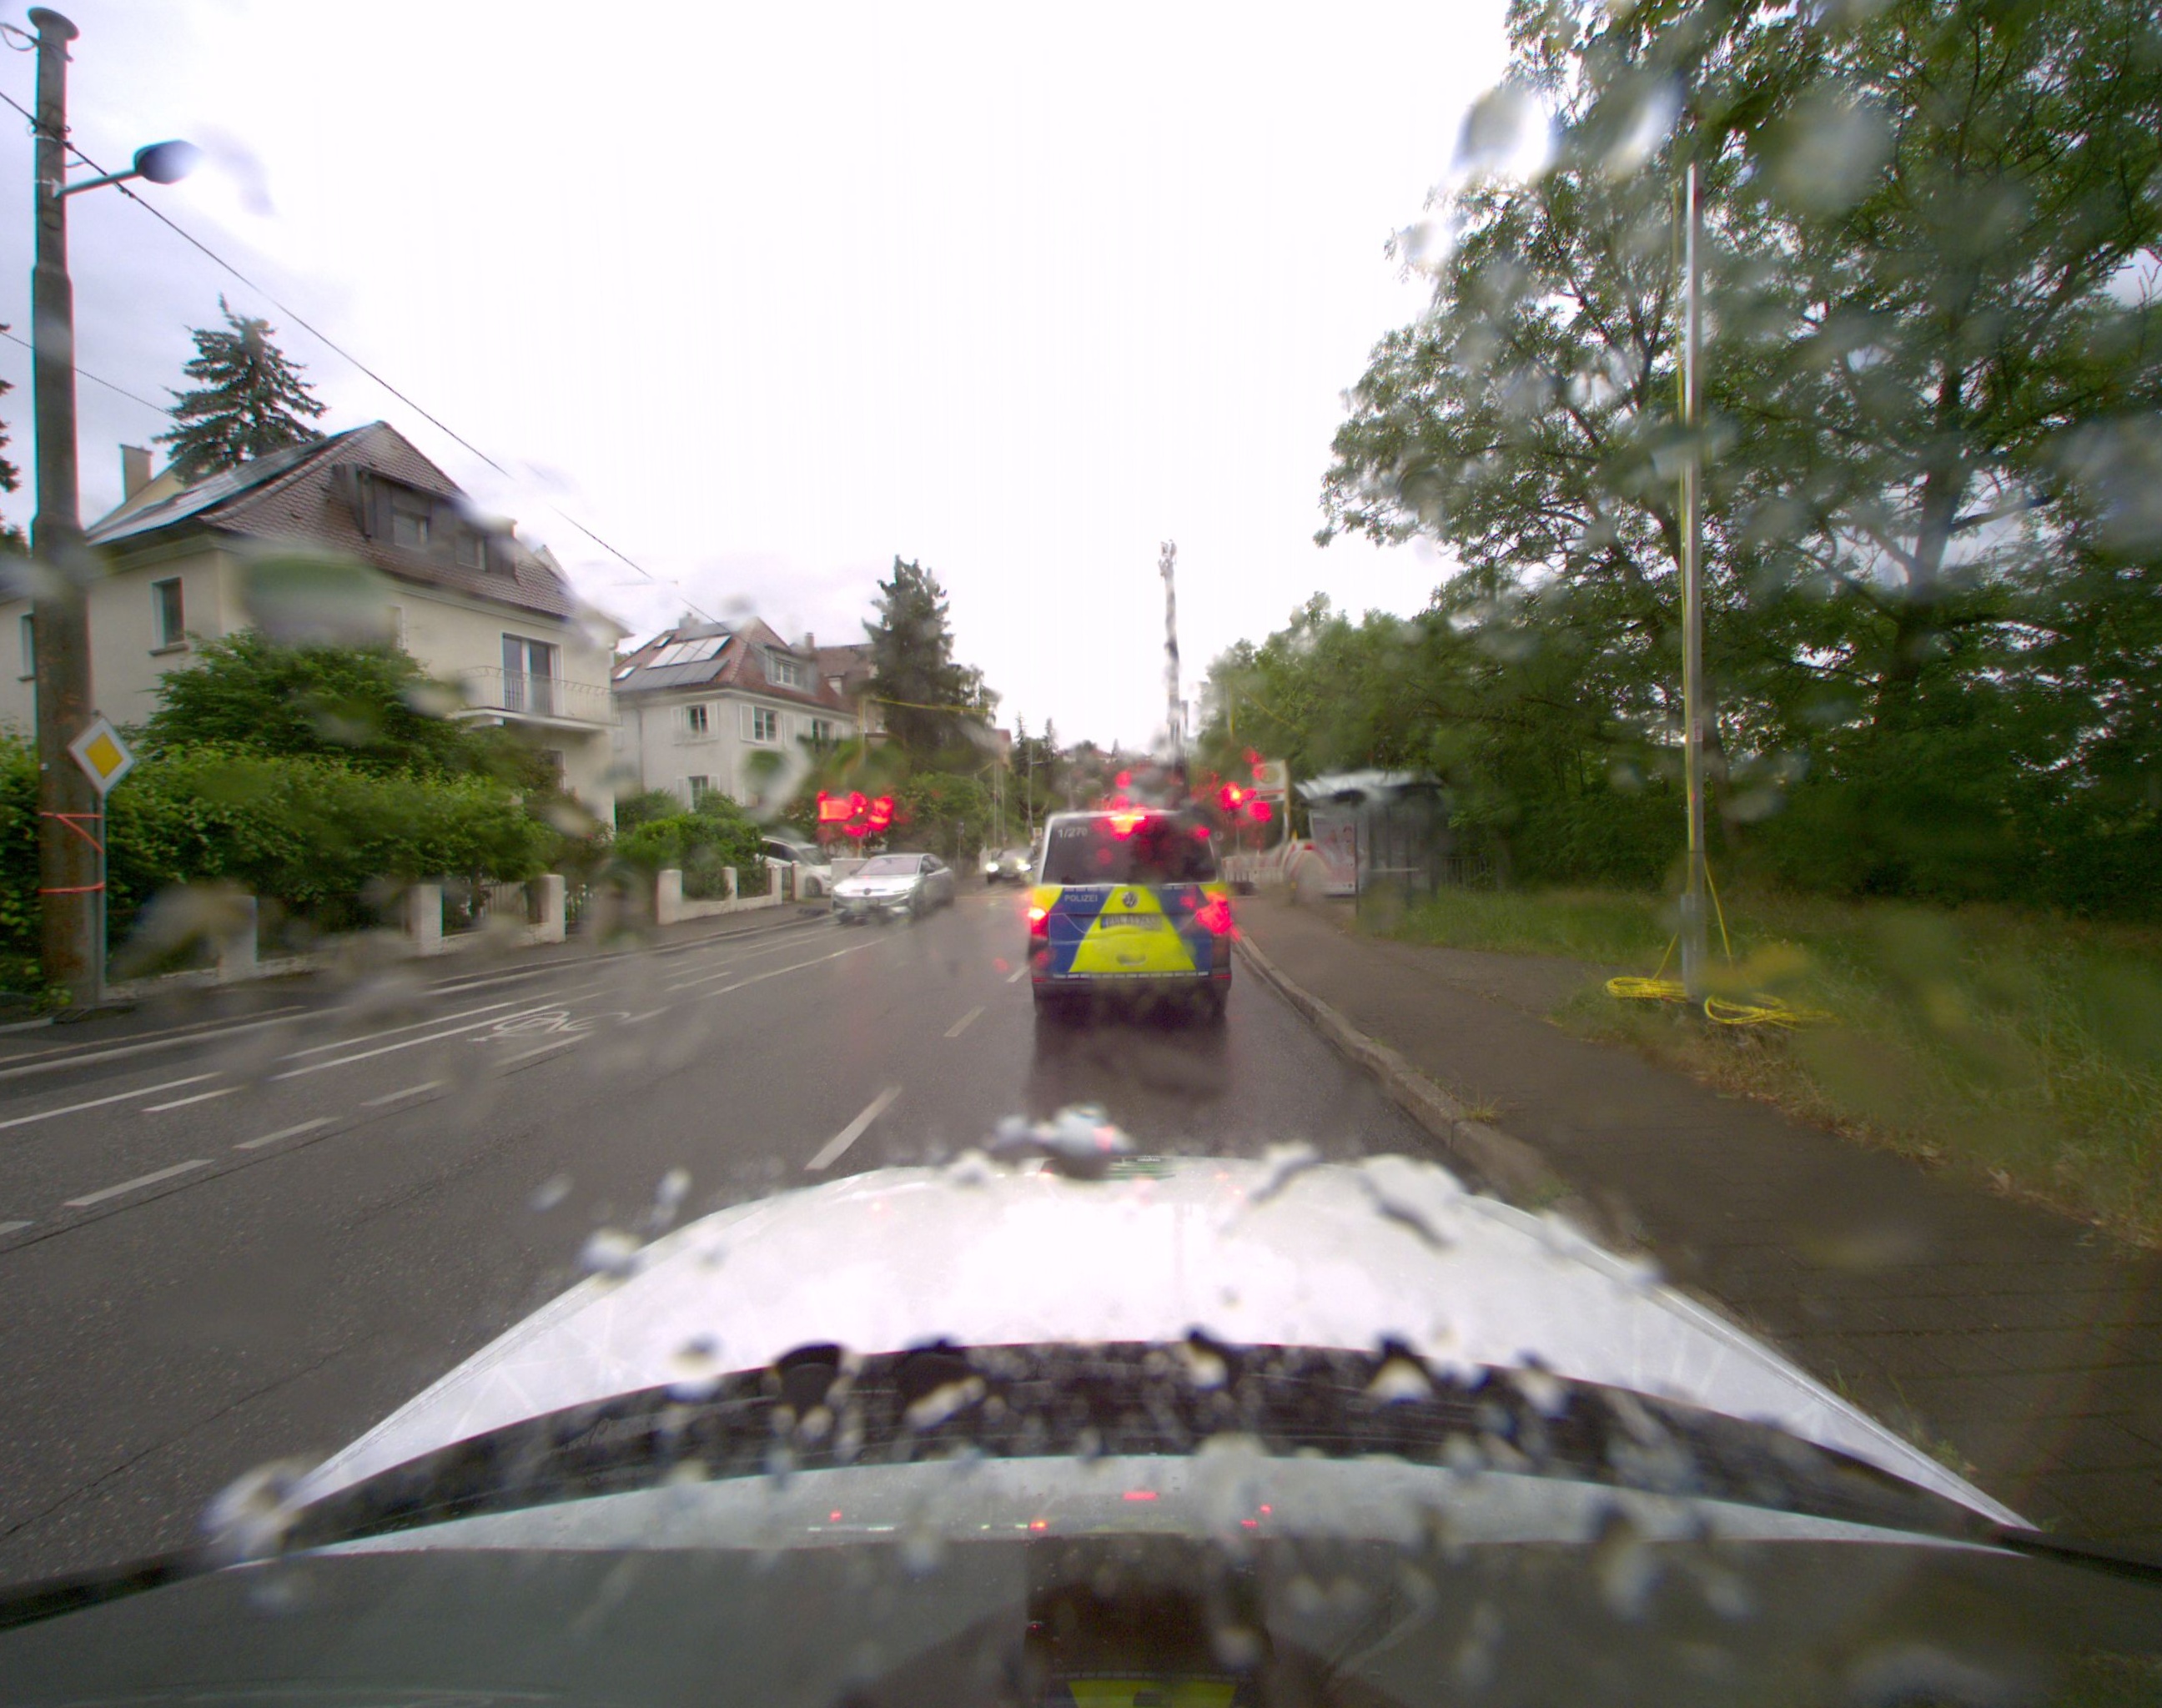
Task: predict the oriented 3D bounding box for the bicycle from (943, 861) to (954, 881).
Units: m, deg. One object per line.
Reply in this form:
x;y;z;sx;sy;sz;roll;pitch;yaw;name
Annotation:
-6.495;0.820;39.893;0.463;0.897;1.627;-1;0;-12;bicycle

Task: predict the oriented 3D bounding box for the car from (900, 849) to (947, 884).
-7.449;0.550;38.302;1.770;1.486;3.720;0;1;-17;car

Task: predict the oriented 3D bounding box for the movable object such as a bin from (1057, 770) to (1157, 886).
1.111;-0.935;31.775;2.809;4.177;4.400;0;0;17;movable object such as a bin

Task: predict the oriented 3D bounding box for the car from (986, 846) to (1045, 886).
-2.796;0.491;35.562;1.858;1.621;4.170;-1;0;5;car

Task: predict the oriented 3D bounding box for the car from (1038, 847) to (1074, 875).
-1.552;0.447;51.575;1.986;1.674;4.690;0;0;2;car

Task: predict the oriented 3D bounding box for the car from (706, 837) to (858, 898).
-10.275;0.454;28.060;4.599;2.007;1.907;0;0;13;car

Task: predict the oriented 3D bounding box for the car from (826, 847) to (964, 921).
-4.336;0.665;19.834;1.844;1.527;4.826;-2;-1;5;car

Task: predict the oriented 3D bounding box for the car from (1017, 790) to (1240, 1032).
0.467;0.480;8.945;1.886;2.050;4.002;0;0;2;car
